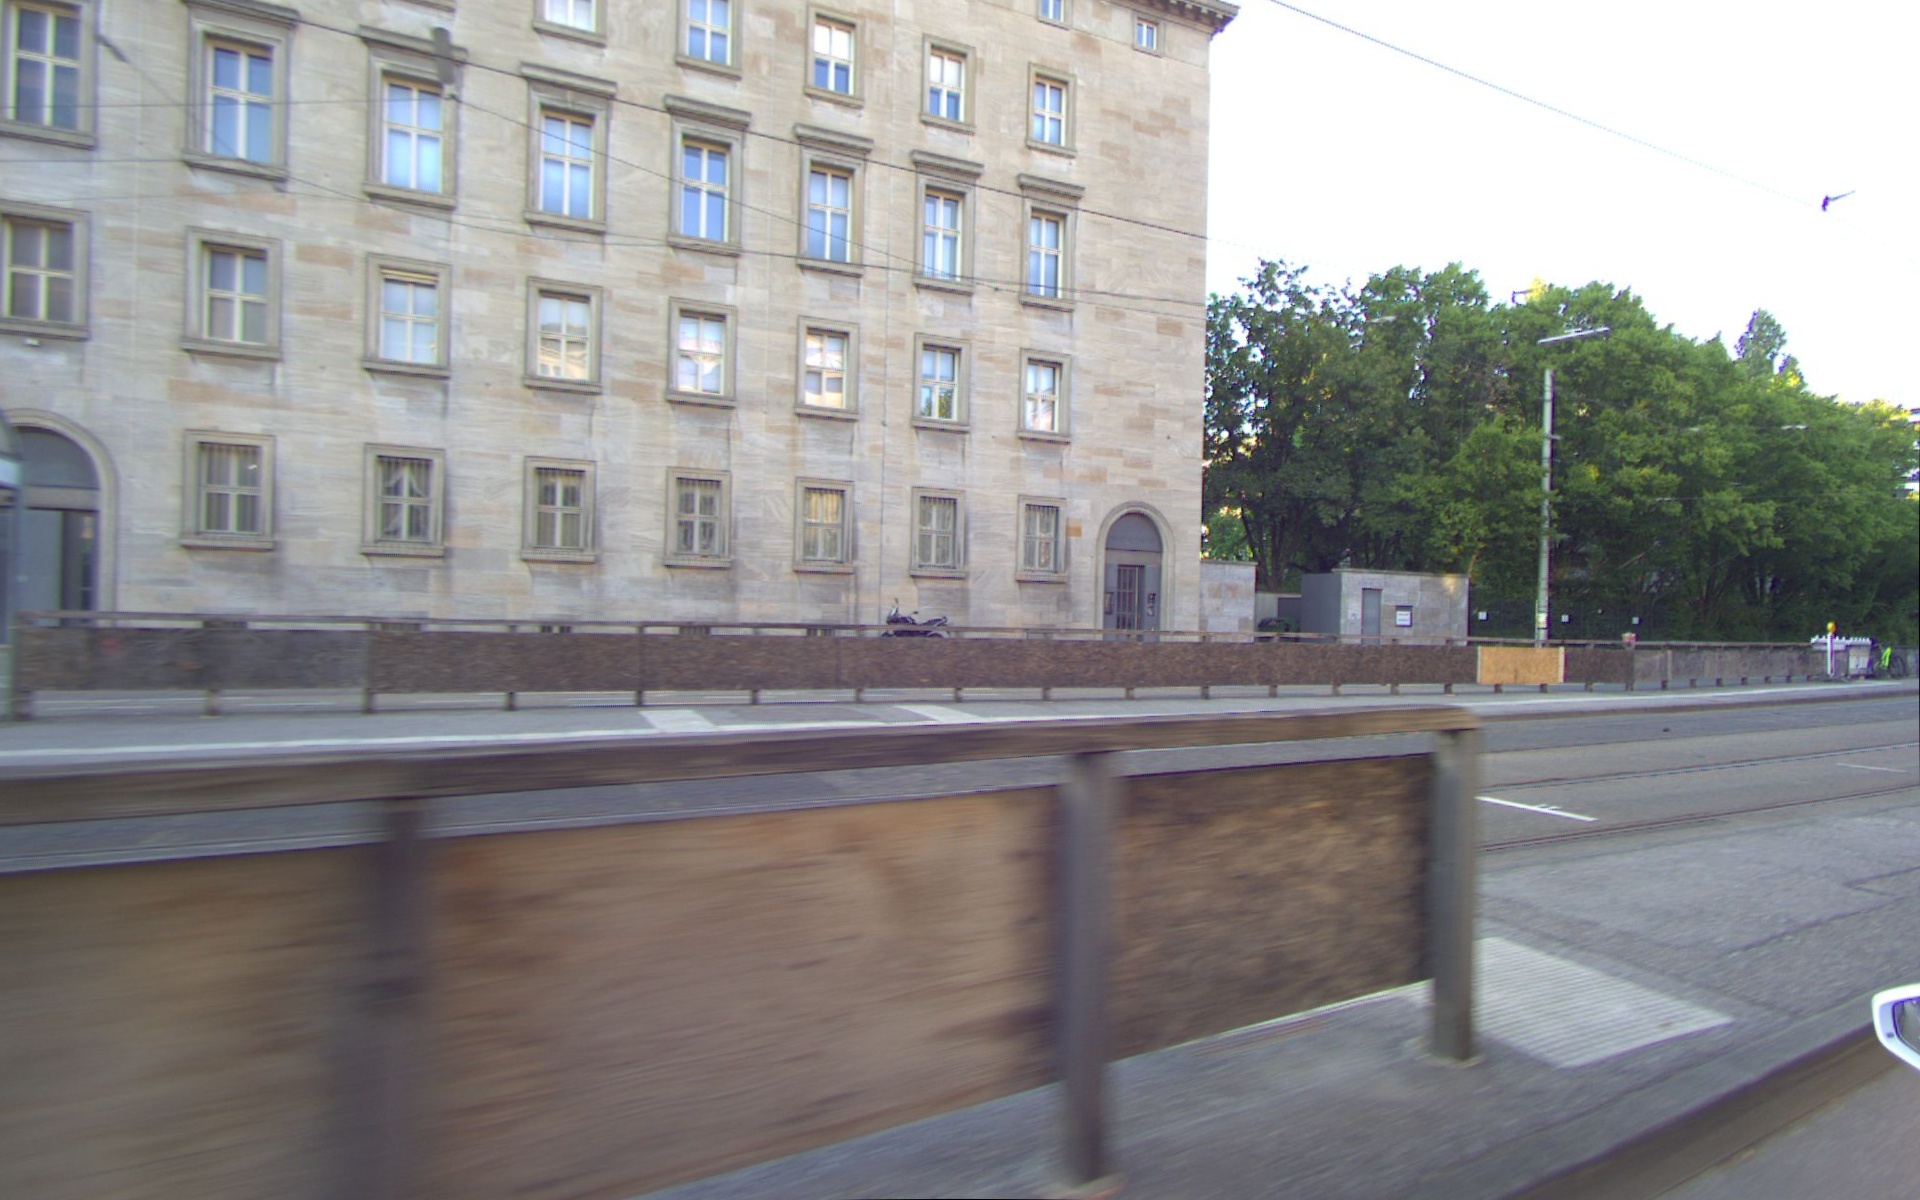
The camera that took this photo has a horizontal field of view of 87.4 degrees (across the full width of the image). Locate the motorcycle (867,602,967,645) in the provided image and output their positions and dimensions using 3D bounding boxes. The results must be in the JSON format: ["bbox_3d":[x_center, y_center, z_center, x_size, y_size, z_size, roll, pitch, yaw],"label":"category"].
[{"bbox_3d":[-1.155,0.649,27.097,2.616,1.089,0.696,2,-1,-24],"label":"motorcycle"}]

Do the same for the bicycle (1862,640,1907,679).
[{"bbox_3d":[26.775,1.717,29.087,2.000,1.089,0.459,2,-1,-33],"label":"bicycle"}]
